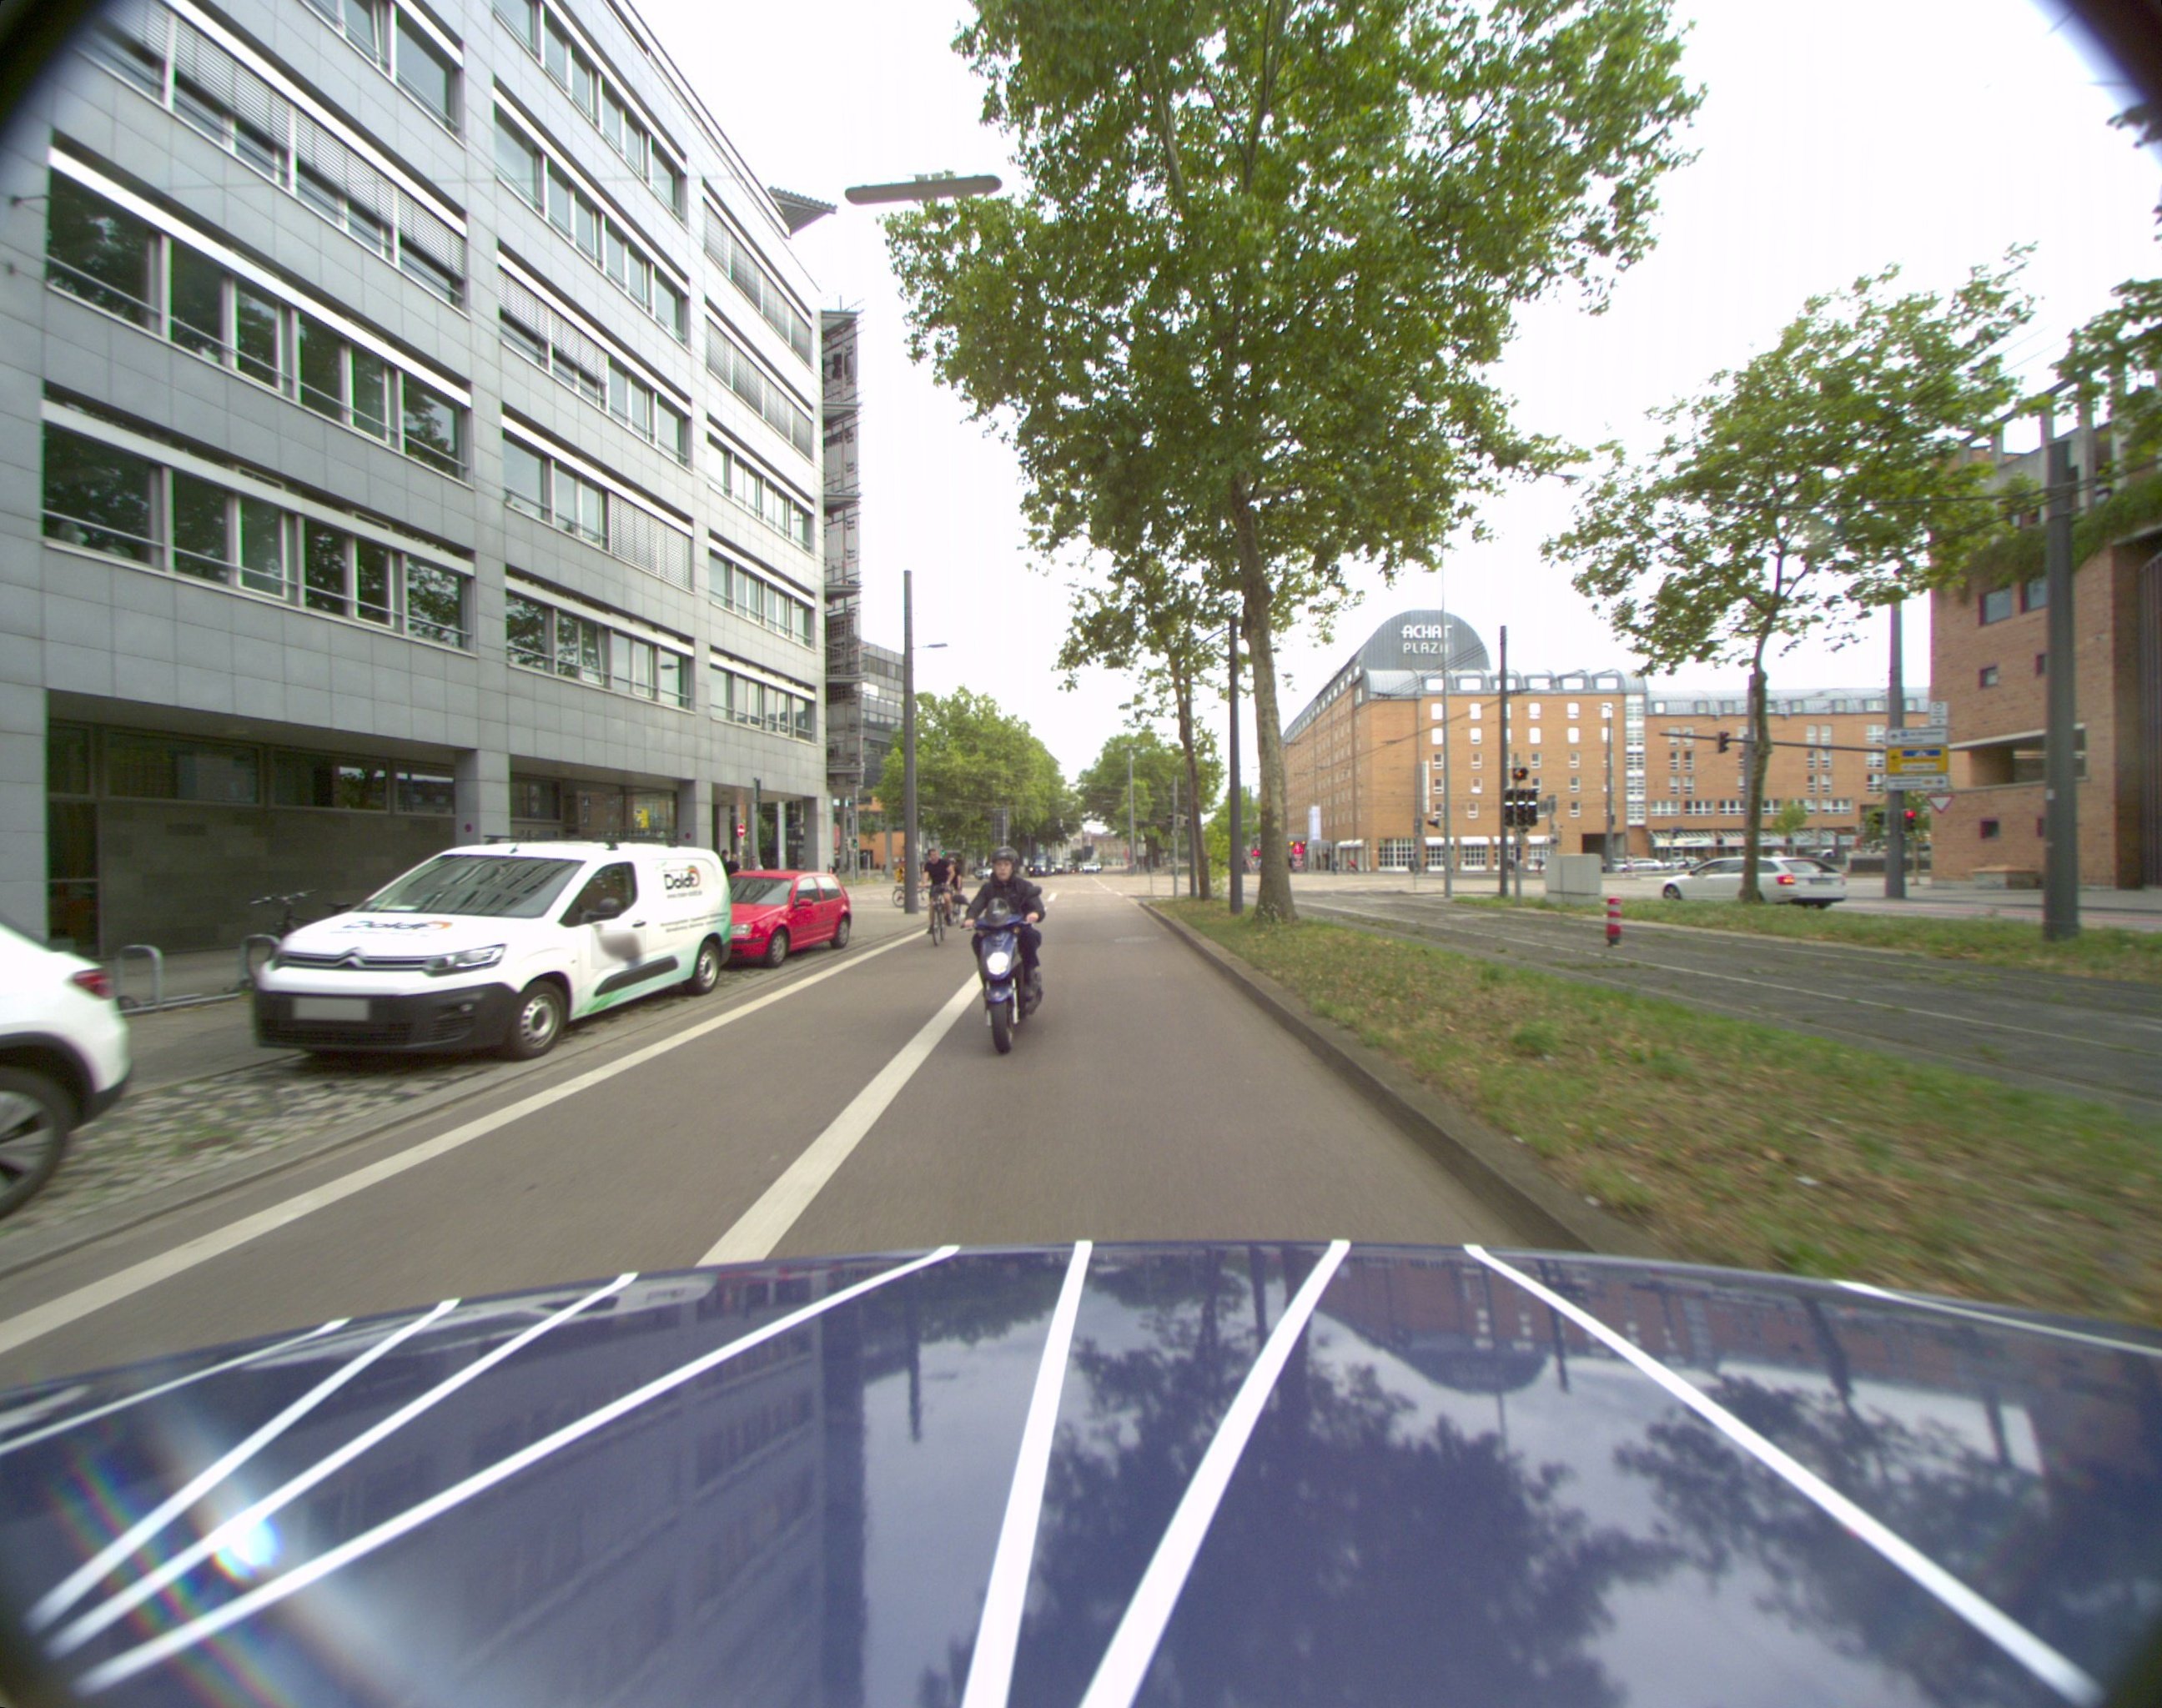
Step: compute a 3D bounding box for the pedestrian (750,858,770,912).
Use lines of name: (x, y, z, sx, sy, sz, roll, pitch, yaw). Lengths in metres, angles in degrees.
pedestrian: (-10.396, 0.988, 24.596, 0.556, 1.716, 0.495, 0, -1, -19)

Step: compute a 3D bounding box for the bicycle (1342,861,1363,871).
bicycle: (29.483, 1.315, 82.498, 2.056, 1.002, 0.641, 0, 1, 16)

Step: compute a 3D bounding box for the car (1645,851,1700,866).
car: (57.303, 0.416, 73.630, 3.998, 1.434, 1.702, -1, 1, -2)

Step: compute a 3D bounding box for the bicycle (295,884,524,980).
bicycle: (-9.405, 1.077, 10.692, 2.639, 1.251, 0.655, -1, 0, 1)

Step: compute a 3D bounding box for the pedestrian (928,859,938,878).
pedestrian: (-13.626, 1.327, 69.983, 0.678, 1.781, 0.669, -1, 1, 3)

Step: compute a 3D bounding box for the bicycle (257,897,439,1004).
bicycle: (-8.730, 1.127, 9.062, 1.912, 1.190, 0.480, -1, 0, 9)

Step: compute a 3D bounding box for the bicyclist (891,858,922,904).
bicyclist: (-6.710, 1.019, 29.225, 0.914, 1.754, 0.720, 0, 0, 18)

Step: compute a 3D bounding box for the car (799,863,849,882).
car: (-24.933, 1.800, 73.665, 4.171, 1.728, 1.967, -1, 0, 17)

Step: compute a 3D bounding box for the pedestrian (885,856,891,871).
pedestrian: (-23.706, 1.176, 93.449, 0.545, 1.855, 0.515, 0, 0, 28)

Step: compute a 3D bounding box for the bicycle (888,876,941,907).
bicycle: (-6.384, 1.435, 29.122, 1.900, 1.132, 0.727, 0, 0, 19)

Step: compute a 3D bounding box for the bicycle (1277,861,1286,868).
bicycle: (26.567, 1.418, 100.785, 0.659, 0.931, 1.892, -1, 1, -3)

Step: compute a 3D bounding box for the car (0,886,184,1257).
car: (-5.640, 0.942, 1.692, 2.000, 1.593, 4.581, 2, -1, -4)

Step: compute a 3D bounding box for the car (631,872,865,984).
car: (-5.256, 1.079, 12.709, 1.726, 1.424, 4.255, 2, 0, 5)

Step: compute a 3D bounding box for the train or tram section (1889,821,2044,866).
train or tram section: (70.687, -0.848, 60.746, 9.602, 3.430, 2.577, -1, 0, -1)

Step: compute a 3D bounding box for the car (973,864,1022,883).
car: (-8.106, 1.864, 74.018, 1.960, 1.651, 4.648, -2, 0, 37)

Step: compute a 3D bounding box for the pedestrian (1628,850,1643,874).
pedestrian: (40.413, 0.585, 55.376, 0.578, 1.722, 0.751, -1, 1, -1)

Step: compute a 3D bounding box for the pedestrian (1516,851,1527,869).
pedestrian: (42.378, 0.572, 73.052, 0.578, 1.722, 0.750, -1, 1, -6)

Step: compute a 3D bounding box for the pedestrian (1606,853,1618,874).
pedestrian: (45.337, 0.813, 64.901, 0.632, 1.722, 0.578, -1, 1, -10)

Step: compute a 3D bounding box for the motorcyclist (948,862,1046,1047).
motorcyclist: (-0.717, 0.840, 6.814, 0.761, 1.510, 1.017, -1, 1, -1)

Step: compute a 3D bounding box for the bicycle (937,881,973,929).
bicycle: (-3.252, 1.305, 19.710, 0.595, 1.132, 1.735, 0, 0, 1)

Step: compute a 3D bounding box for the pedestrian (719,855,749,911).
pedestrian: (-10.683, 0.894, 23.416, 0.546, 1.716, 0.644, -1, -1, 12)

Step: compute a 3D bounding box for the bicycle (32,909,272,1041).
bicycle: (-9.051, 1.146, 7.412, 2.059, 1.190, 0.480, -1, 0, 9)

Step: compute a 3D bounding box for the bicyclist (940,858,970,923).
bicyclist: (-3.252, 0.918, 19.686, 0.591, 1.644, 1.035, 0, 0, 1)

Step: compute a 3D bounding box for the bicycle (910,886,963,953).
bicycle: (-2.781, 1.231, 14.833, 0.595, 1.132, 2.091, 0, 0, 1)

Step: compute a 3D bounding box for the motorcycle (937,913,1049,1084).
motorcycle: (-0.705, 1.172, 6.816, 0.769, 1.101, 2.207, -1, 1, -1)

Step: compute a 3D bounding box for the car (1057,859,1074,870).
car: (-2.224, 1.483, 111.042, 1.915, 1.533, 4.094, 0, 0, 6)

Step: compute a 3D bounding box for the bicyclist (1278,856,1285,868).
bicyclist: (26.564, 1.051, 100.765, 0.651, 1.492, 0.817, -1, 1, -4)

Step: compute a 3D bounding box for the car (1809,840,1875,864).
car: (74.008, -0.174, 73.879, 4.833, 2.217, 1.702, -1, 1, -2)

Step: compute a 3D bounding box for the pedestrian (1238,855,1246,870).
pedestrian: (18.293, 0.960, 86.388, 0.684, 1.696, 0.534, -1, 1, -7)

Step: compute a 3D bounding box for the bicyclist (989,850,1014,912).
bicyclist: (-2.295, 0.780, 22.070, 0.591, 1.760, 1.035, 0, 0, 1)

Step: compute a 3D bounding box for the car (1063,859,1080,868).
car: (-1.418, 1.444, 117.725, 1.997, 1.270, 4.002, -1, 0, 8)

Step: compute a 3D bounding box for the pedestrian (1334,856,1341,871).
pedestrian: (28.299, 1.058, 83.841, 0.563, 1.696, 0.535, -1, 1, 1)

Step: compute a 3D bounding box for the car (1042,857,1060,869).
car: (-3.838, 1.108, 97.734, 1.756, 1.410, 4.276, 0, 1, 6)

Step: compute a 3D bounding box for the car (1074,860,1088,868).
car: (0.035, 1.658, 126.738, 1.711, 1.270, 4.002, -1, 0, 8)

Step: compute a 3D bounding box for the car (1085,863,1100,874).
car: (1.610, 1.988, 104.697, 1.845, 1.369, 3.836, -1, -1, 6)

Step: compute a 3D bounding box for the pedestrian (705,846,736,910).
pedestrian: (-11.558, 0.780, 24.387, 0.603, 2.001, 0.676, -1, -3, 7)

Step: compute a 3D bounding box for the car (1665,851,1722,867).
car: (57.111, 0.436, 70.858, 3.998, 1.434, 1.702, -1, 1, -2)

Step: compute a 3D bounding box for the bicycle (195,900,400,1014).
bicycle: (-8.779, 1.128, 8.529, 2.059, 1.190, 0.480, -1, 0, 9)

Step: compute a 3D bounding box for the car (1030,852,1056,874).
car: (-4.449, 1.026, 90.016, 2.174, 2.441, 6.999, -1, 0, 4)

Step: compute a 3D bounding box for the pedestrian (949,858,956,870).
pedestrian: (-18.149, 1.387, 107.676, 0.586, 1.722, 0.745, 0, 1, 35)

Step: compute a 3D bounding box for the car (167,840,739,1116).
car: (-5.302, 0.866, 7.480, 1.832, 1.853, 4.647, 1, 0, -2)

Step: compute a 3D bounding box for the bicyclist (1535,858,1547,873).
bicyclist: (46.205, 1.113, 76.337, 0.865, 1.492, 0.636, -1, 1, -1)

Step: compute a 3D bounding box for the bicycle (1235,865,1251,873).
bicycle: (18.053, 1.656, 84.593, 1.710, 0.883, 0.499, -1, 1, 4)

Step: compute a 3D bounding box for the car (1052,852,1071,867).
car: (-2.677, 0.735, 105.724, 1.997, 2.002, 5.439, 0, 0, 6)

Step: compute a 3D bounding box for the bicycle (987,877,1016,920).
bicycle: (-2.296, 1.262, 22.068, 0.595, 1.132, 1.858, 0, 0, 1)

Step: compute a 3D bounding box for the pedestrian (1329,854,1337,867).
pedestrian: (29.665, 0.786, 89.537, 0.536, 1.498, 0.648, -1, 1, -34)

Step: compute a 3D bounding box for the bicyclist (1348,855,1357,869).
bicyclist: (29.500, 0.886, 82.481, 0.864, 1.492, 0.637, 0, 1, 16)

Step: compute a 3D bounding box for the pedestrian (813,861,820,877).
pedestrian: (-30.513, 1.713, 87.603, 0.627, 1.855, 0.671, 0, 0, -34)

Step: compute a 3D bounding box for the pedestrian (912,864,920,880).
pedestrian: (-17.121, 1.904, 78.914, 0.587, 1.642, 0.744, 0, 1, 9)

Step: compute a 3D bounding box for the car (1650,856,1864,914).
car: (18.441, 0.770, 21.093, 1.788, 1.413, 4.658, -1, 0, 0)

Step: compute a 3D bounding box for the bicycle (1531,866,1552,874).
bicycle: (46.264, 1.600, 76.345, 1.796, 0.777, 0.640, -1, 1, -2)

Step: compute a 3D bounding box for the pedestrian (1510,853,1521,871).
pedestrian: (41.662, 0.785, 72.794, 0.578, 1.722, 0.750, -1, 1, -6)

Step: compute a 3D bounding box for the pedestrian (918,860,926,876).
pedestrian: (-17.543, 1.556, 83.944, 0.587, 1.721, 0.744, -1, 0, 9)

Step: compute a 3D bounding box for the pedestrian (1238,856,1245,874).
pedestrian: (17.800, 1.233, 84.197, 0.693, 1.940, 0.534, -1, 1, -1)

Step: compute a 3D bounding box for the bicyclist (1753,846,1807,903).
bicyclist: (20.263, 0.588, 22.043, 0.724, 1.600, 0.901, -1, 0, 0)

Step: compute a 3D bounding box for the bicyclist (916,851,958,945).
bicyclist: (-2.782, 0.833, 14.771, 0.591, 1.757, 1.035, 0, 0, 1)
